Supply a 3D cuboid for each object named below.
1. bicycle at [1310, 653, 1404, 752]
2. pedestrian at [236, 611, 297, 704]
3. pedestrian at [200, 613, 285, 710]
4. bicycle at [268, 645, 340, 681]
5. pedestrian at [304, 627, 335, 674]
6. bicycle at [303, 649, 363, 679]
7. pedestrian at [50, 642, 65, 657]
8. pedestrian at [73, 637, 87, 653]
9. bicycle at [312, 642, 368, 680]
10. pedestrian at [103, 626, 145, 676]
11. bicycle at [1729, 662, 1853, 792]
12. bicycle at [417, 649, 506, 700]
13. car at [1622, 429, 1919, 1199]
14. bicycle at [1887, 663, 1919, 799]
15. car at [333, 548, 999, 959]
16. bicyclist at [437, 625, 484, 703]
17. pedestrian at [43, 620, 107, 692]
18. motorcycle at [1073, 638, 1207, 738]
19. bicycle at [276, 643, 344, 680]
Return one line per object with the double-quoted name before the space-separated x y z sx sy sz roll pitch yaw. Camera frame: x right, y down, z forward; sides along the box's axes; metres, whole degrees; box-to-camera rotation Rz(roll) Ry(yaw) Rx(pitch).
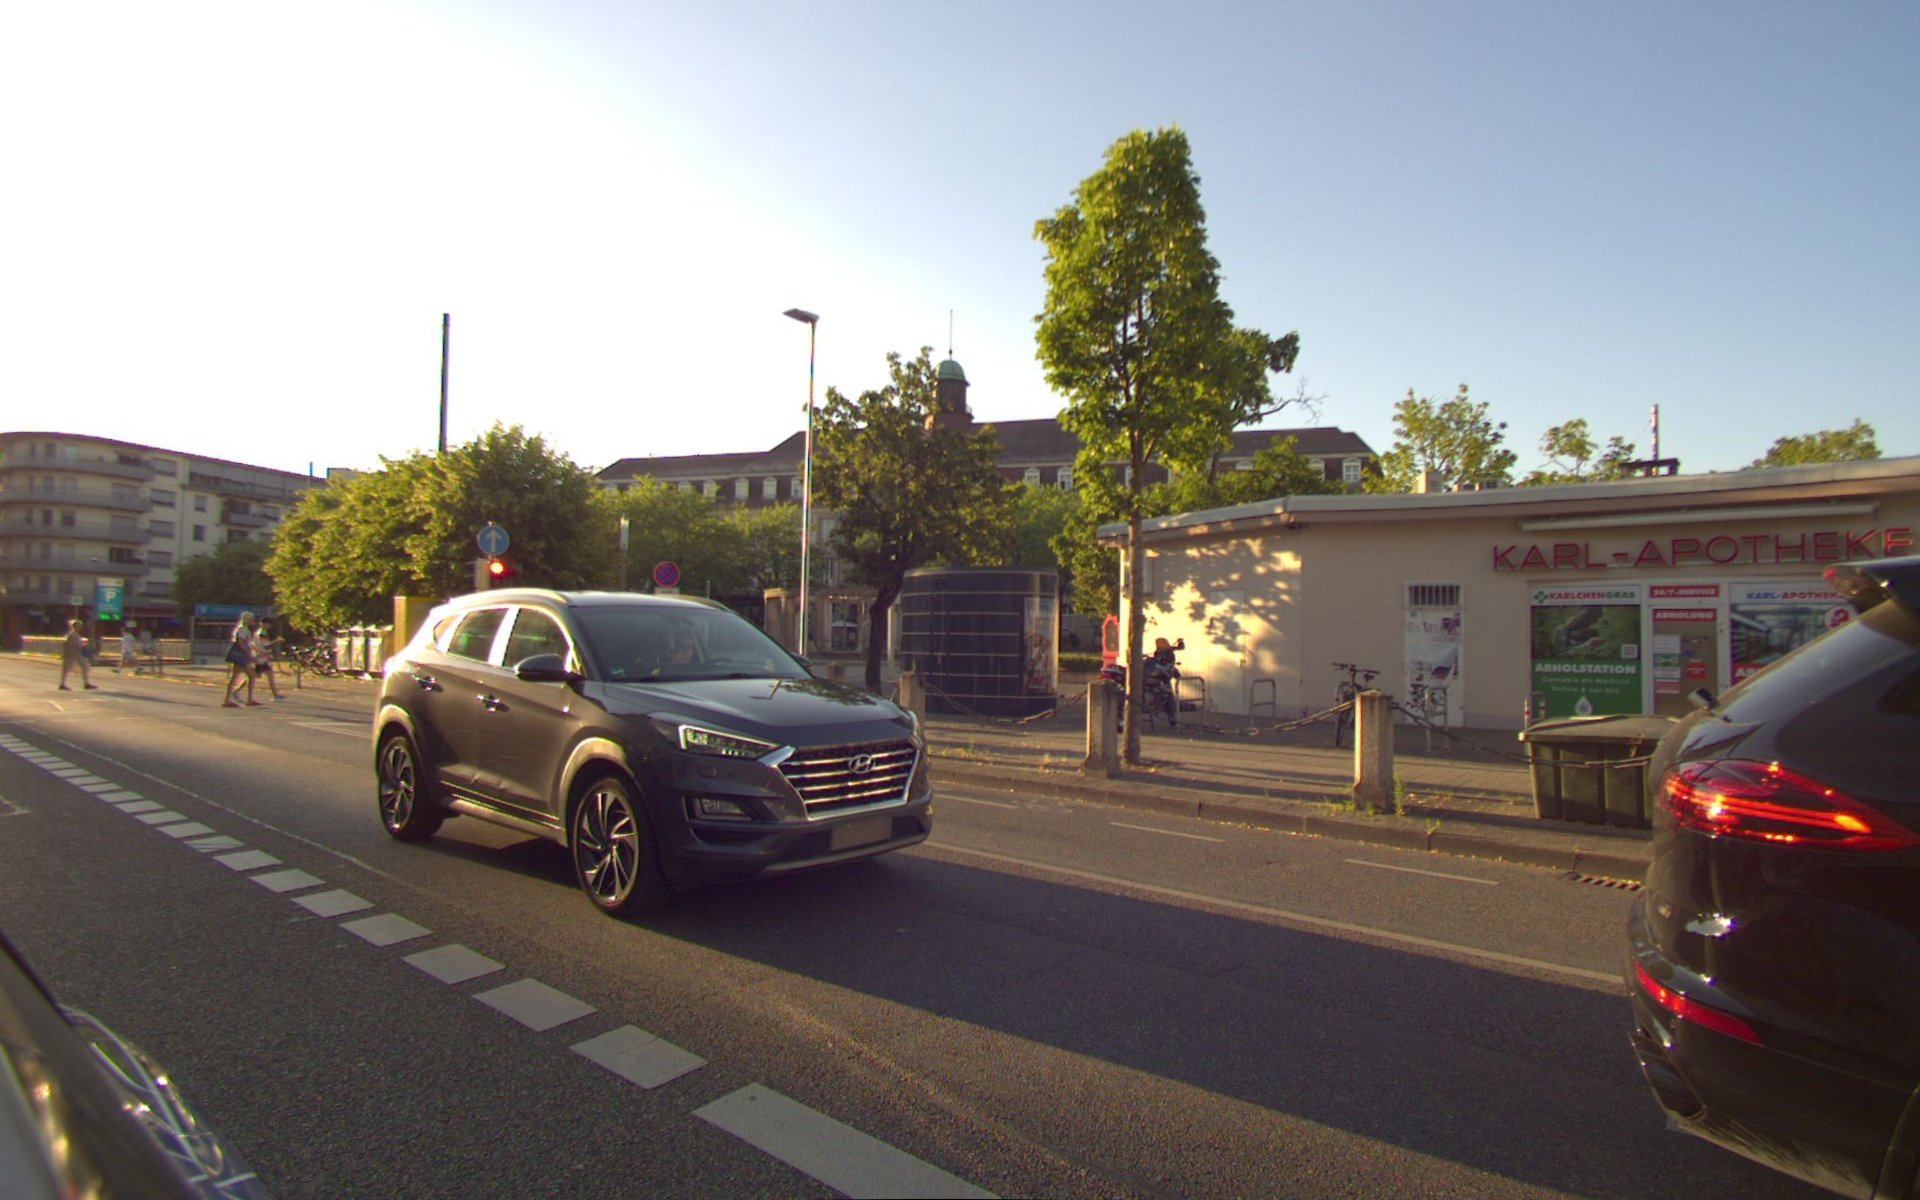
"bicycle" 5.522 1.383 14.024 0.632 1.266 1.834 -2 -4 41
"pedestrian" -14.818 1.224 21.619 0.926 1.912 0.827 3 -4 -40
"pedestrian" -13.705 1.166 19.333 0.825 1.788 1.086 -2 -4 39
"bicycle" -22.497 2.150 34.742 0.548 1.143 2.007 -2 -2 36
"pedestrian" -25.300 1.990 39.983 0.858 1.831 0.827 3 -4 -40
"bicycle" -21.491 2.178 34.722 0.548 0.986 1.658 -2 -2 36
"pedestrian" -74.837 4.120 83.957 0.875 1.201 0.734 2 -4 -40
"pedestrian" -74.997 3.863 86.205 0.888 1.332 0.723 -2 -3 39
"bicycle" -21.141 2.066 34.537 0.444 1.262 1.571 -2 -2 38
"pedestrian" -31.361 1.910 37.981 0.936 1.831 0.828 2 -3 -25
"bicycle" 9.091 1.315 11.054 0.949 1.266 1.984 -2 -4 41
"bicycle" -11.974 1.784 24.364 1.794 1.195 0.796 2 -3 -17
"car" 3.719 0.558 1.339 4.557 1.727 1.929 -2 -4 40
"bicycle" 9.943 1.275 10.208 0.787 1.266 2.418 -2 -4 41
"car" -2.072 0.746 6.376 4.446 1.702 1.853 -2 -5 40
"bicyclist" -12.013 1.541 24.354 0.822 1.840 0.833 1 -3 -16
"pedestrian" -20.900 1.311 23.913 0.779 1.666 0.781 1 -3 -7
"motorcycle" 2.864 1.340 15.852 0.868 1.440 2.554 -2 -4 41
"bicycle" -23.335 2.186 36.358 0.548 1.262 2.007 -2 -2 36
